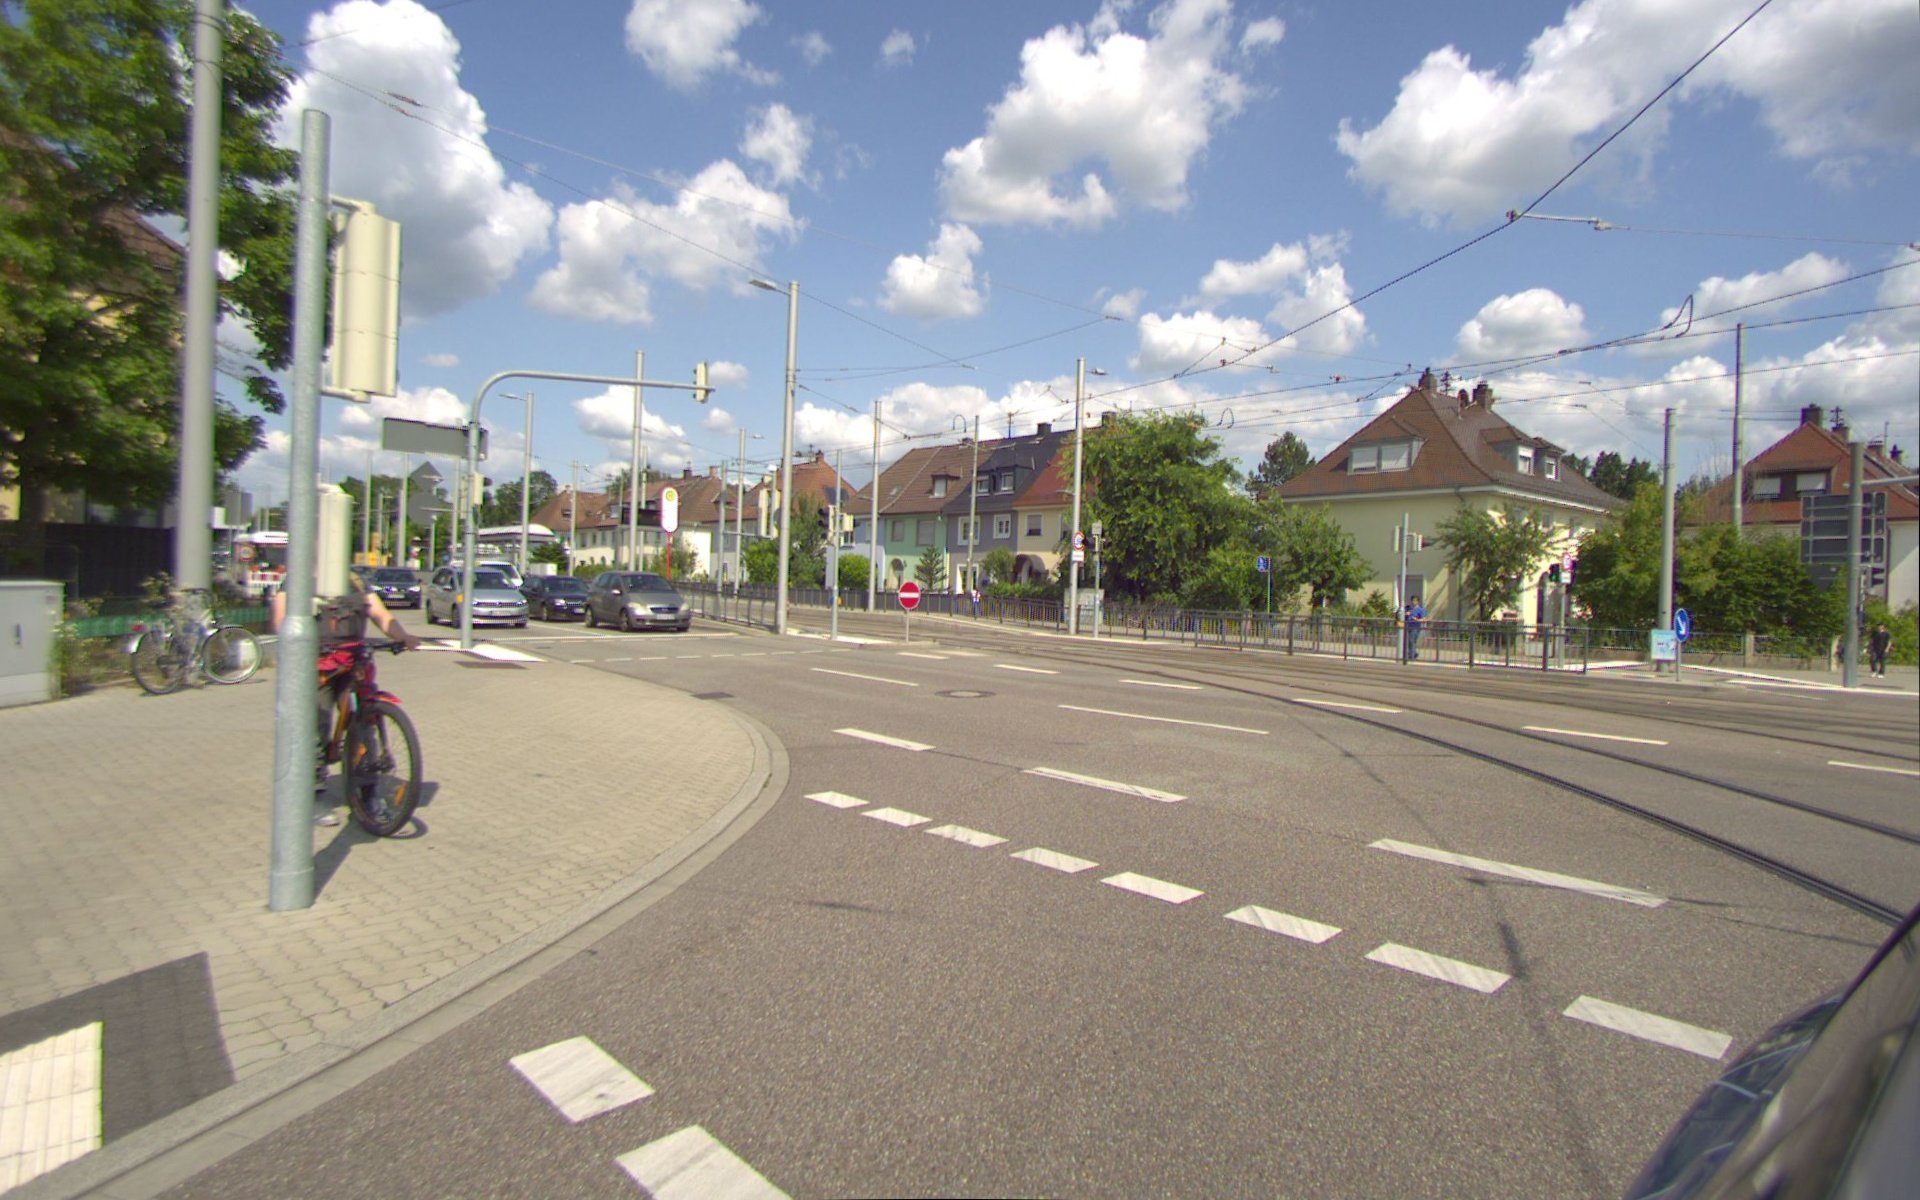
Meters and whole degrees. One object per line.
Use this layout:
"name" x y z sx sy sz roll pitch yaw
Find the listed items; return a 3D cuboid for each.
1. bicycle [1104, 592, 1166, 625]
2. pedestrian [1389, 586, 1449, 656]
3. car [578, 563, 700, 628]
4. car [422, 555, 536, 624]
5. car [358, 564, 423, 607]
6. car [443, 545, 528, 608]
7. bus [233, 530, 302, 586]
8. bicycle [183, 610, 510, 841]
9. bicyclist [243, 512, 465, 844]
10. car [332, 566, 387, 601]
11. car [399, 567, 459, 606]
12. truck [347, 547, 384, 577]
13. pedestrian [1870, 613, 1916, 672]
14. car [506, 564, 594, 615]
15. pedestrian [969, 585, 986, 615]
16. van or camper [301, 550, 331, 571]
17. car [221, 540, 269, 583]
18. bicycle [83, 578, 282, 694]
"bicycle" 7.672 0.358 44.508 0.613 1.351 2.795 2 0 -44
"pedestrian" 11.912 0.536 26.292 1.022 1.757 1.031 3 0 -41
"car" -8.761 -0.161 27.415 1.808 1.588 3.997 2 1 -38
"car" -13.087 -0.309 27.435 1.904 1.713 3.997 2 1 -38
"car" -21.343 -0.559 37.876 1.533 1.447 3.589 2 1 -38
"car" -17.961 -0.899 38.193 1.781 2.186 4.845 2 1 -38
"bus" -42.296 -2.573 61.758 2.466 3.160 6.642 2 1 -43
"bicycle" -3.686 0.660 6.042 2.014 1.115 0.708 2 1 27
"bicyclist" -3.600 0.406 6.026 0.951 1.797 0.713 2 0 28
"car" -34.879 -0.971 58.759 1.965 1.906 3.993 2 -1 -41
"car" -22.035 -0.579 41.928 1.533 1.447 3.589 2 1 -38
"truck" -71.051 -4.487 120.964 2.151 3.449 7.214 2 -1 -43
"pedestrian" 29.815 1.353 32.354 0.918 1.790 0.594 3 0 -13
"car" -12.901 -0.354 31.764 1.547 1.464 3.720 2 1 -38
"pedestrian" 0.869 -0.006 50.365 0.673 1.450 0.516 2 0 -29
"van or camper" -107.537 -6.548 168.876 2.955 3.249 7.111 2 -1 -42
"car" -47.179 -2.542 66.735 1.943 2.660 5.152 2 1 -42
"bicycle" -8.292 0.349 10.903 0.689 1.119 1.807 2 1 2
